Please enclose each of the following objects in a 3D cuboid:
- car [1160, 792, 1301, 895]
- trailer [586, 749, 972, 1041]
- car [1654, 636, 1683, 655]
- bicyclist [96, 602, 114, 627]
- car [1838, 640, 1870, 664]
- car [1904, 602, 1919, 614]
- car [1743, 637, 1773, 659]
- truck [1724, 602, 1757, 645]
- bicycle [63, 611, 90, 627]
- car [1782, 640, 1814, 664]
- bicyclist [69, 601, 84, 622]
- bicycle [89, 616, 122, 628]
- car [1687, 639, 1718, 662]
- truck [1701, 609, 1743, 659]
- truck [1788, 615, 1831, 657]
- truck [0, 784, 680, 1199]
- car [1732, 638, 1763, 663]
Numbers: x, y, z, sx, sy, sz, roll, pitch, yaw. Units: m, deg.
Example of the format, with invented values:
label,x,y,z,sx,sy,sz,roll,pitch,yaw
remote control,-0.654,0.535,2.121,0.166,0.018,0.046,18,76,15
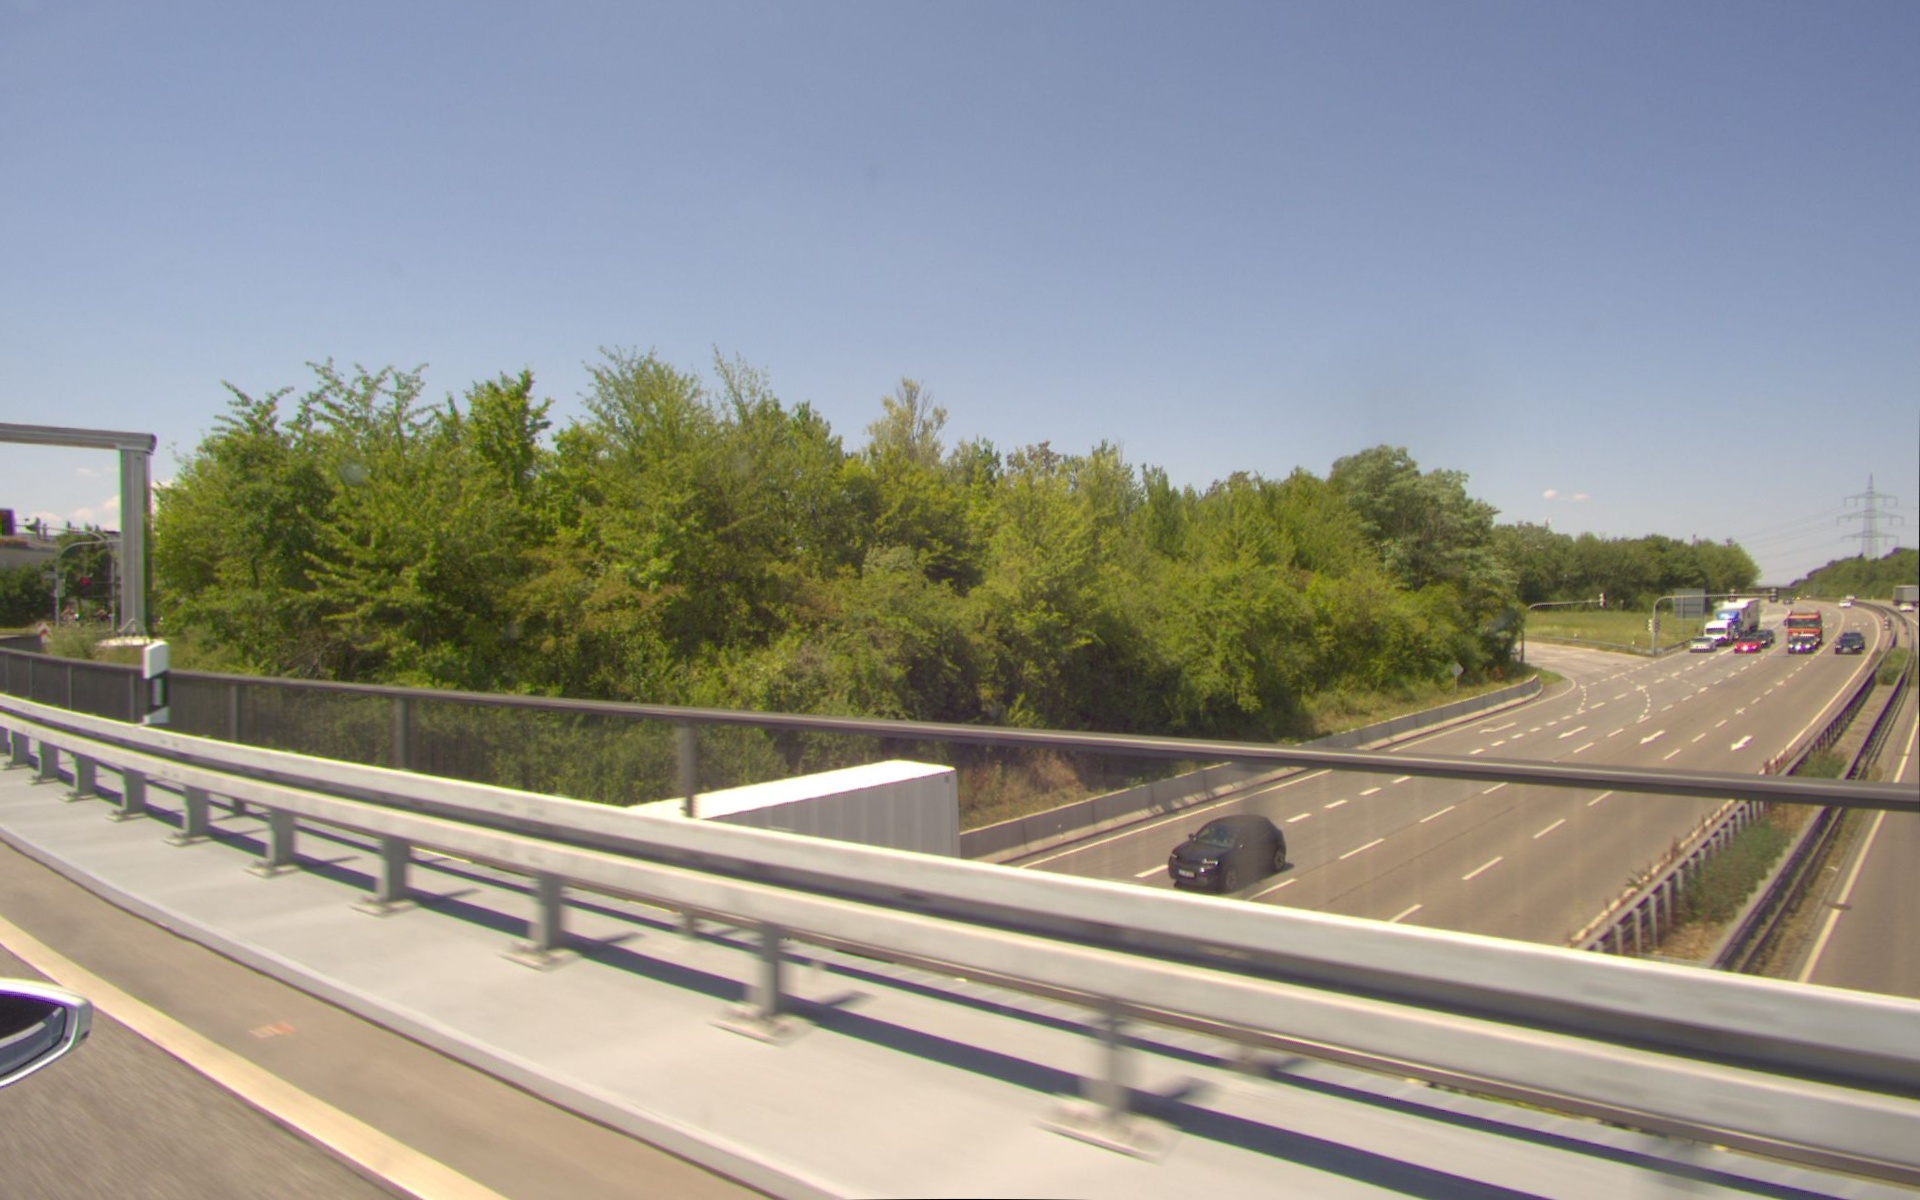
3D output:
label,x,y,z,sx,sy,sz,roll,pitch,yaw
car,7.727,6.769,28.329,1.893,1.729,4.483,-2,1,44
trailer,-3.749,6.084,22.562,8.305,4.404,2.874,0,-1,-42
car,79.021,5.063,111.651,1.980,1.945,3.963,-1,-1,45
bicyclist,-60.606,1.052,70.999,0.521,1.740,0.731,3,-1,0
car,80.855,4.703,90.553,1.980,2.040,3.963,-1,-1,45
car,164.856,1.319,173.426,1.979,2.040,3.964,-1,-1,44
car,80.793,4.855,101.336,1.980,2.040,3.963,-1,-1,45
truck,96.317,2.819,123.542,2.396,5.034,10.984,-1,-1,42
bicycle,-61.762,1.321,69.999,0.407,1.038,1.832,3,-1,-6
car,77.810,4.813,92.945,1.980,2.040,3.963,-1,-1,45
bicyclist,-61.746,0.789,70.013,0.401,1.422,0.685,2,-1,-7
bicycle,-60.646,1.576,71.083,0.525,0.863,2.128,3,-1,0
car,73.645,4.984,99.289,1.980,2.040,3.963,-1,-1,45
truck,82.286,3.566,108.006,2.549,5.075,12.300,-1,-1,42
truck,87.280,3.612,102.821,8.797,4.063,2.686,0,-1,-45
truck,-10.364,6.060,16.561,10.897,4.404,2.874,0,-1,-42
car,75.510,4.823,95.983,1.964,2.238,3.963,-1,-1,45
